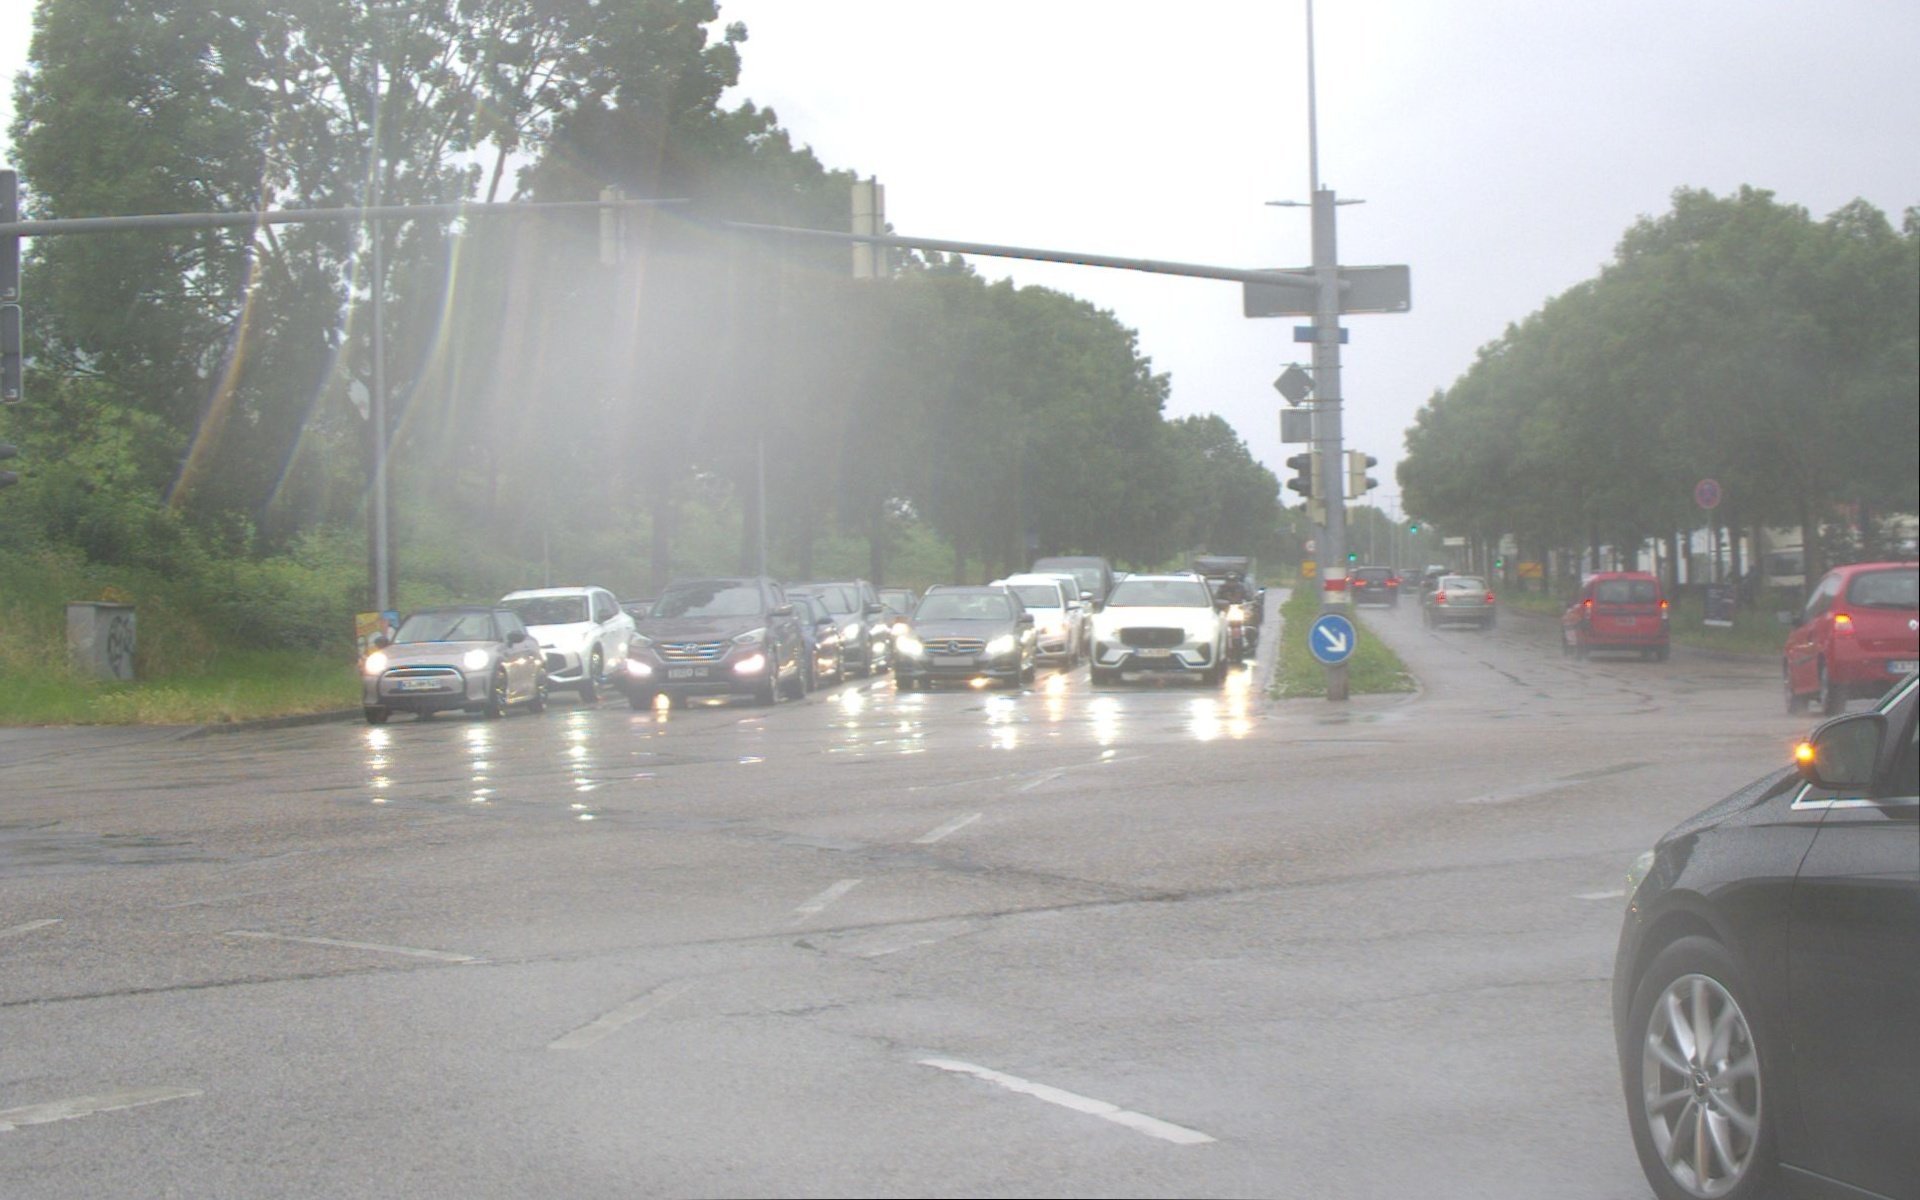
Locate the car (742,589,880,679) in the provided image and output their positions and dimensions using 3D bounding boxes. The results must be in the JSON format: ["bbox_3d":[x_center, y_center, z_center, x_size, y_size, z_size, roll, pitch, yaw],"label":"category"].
[{"bbox_3d":[-2.428,0.538,56.819,1.827,1.353,4.000,-1,1,4],"label":"car"}]

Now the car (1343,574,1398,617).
[{"bbox_3d":[16.265,-0.186,136.466,1.997,1.612,3.999,-1,0,5],"label":"car"}]

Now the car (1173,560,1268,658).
[{"bbox_3d":[4.768,0.131,63.379,1.600,1.714,4.000,-1,1,3],"label":"car"}]

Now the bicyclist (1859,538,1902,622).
[{"bbox_3d":[20.925,-0.459,78.131,0.767,1.875,0.622,-2,0,2],"label":"bicyclist"}]

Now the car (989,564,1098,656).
[{"bbox_3d":[1.670,0.168,67.830,1.845,1.714,3.999,-1,1,5],"label":"car"}]

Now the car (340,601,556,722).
[{"bbox_3d":[-6.418,0.743,43.517,1.892,1.344,4.000,-1,1,3],"label":"car"}]

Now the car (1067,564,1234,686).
[{"bbox_3d":[2.940,0.341,52.112,2.170,1.714,4.301,-1,1,8],"label":"car"}]

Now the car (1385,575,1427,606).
[{"bbox_3d":[23.815,-0.513,183.611,1.997,1.612,3.999,-1,0,5],"label":"car"}]

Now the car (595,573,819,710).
[{"bbox_3d":[-3.258,0.504,45.089,2.023,1.651,4.060,-1,1,9],"label":"car"}]

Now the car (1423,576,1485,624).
[{"bbox_3d":[17.477,-0.030,121.868,1.997,1.612,3.999,-1,0,6],"label":"car"}]

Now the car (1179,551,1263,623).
[{"bbox_3d":[6.492,-0.332,85.728,1.938,1.714,4.000,-1,1,3],"label":"car"}]

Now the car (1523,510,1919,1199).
[{"bbox_3d":[2.619,0.585,5.995,1.870,1.518,4.088,-1,1,-12],"label":"car"}]

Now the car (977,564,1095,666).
[{"bbox_3d":[1.397,0.248,61.511,1.865,1.714,4.000,-1,1,4],"label":"car"}]

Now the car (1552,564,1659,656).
[{"bbox_3d":[11.973,0.163,63.909,1.633,1.650,3.484,1,1,5],"label":"car"}]

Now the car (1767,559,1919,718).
[{"bbox_3d":[9.041,0.339,33.812,1.679,1.486,3.620,0,1,5],"label":"car"}]

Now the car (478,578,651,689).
[{"bbox_3d":[-5.674,0.451,49.749,1.827,1.477,4.000,-1,1,3],"label":"car"}]

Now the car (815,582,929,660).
[{"bbox_3d":[-1.609,0.370,64.158,1.827,1.353,4.000,-1,1,3],"label":"car"}]

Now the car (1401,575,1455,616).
[{"bbox_3d":[19.196,-0.202,141.091,1.997,1.612,3.999,-1,0,5],"label":"car"}]

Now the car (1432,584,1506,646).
[{"bbox_3d":[13.724,0.384,92.825,1.843,1.612,3.999,1,0,7],"label":"car"}]

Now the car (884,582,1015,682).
[{"bbox_3d":[-0.170,0.440,50.777,1.827,1.353,4.000,-1,1,0],"label":"car"}]
